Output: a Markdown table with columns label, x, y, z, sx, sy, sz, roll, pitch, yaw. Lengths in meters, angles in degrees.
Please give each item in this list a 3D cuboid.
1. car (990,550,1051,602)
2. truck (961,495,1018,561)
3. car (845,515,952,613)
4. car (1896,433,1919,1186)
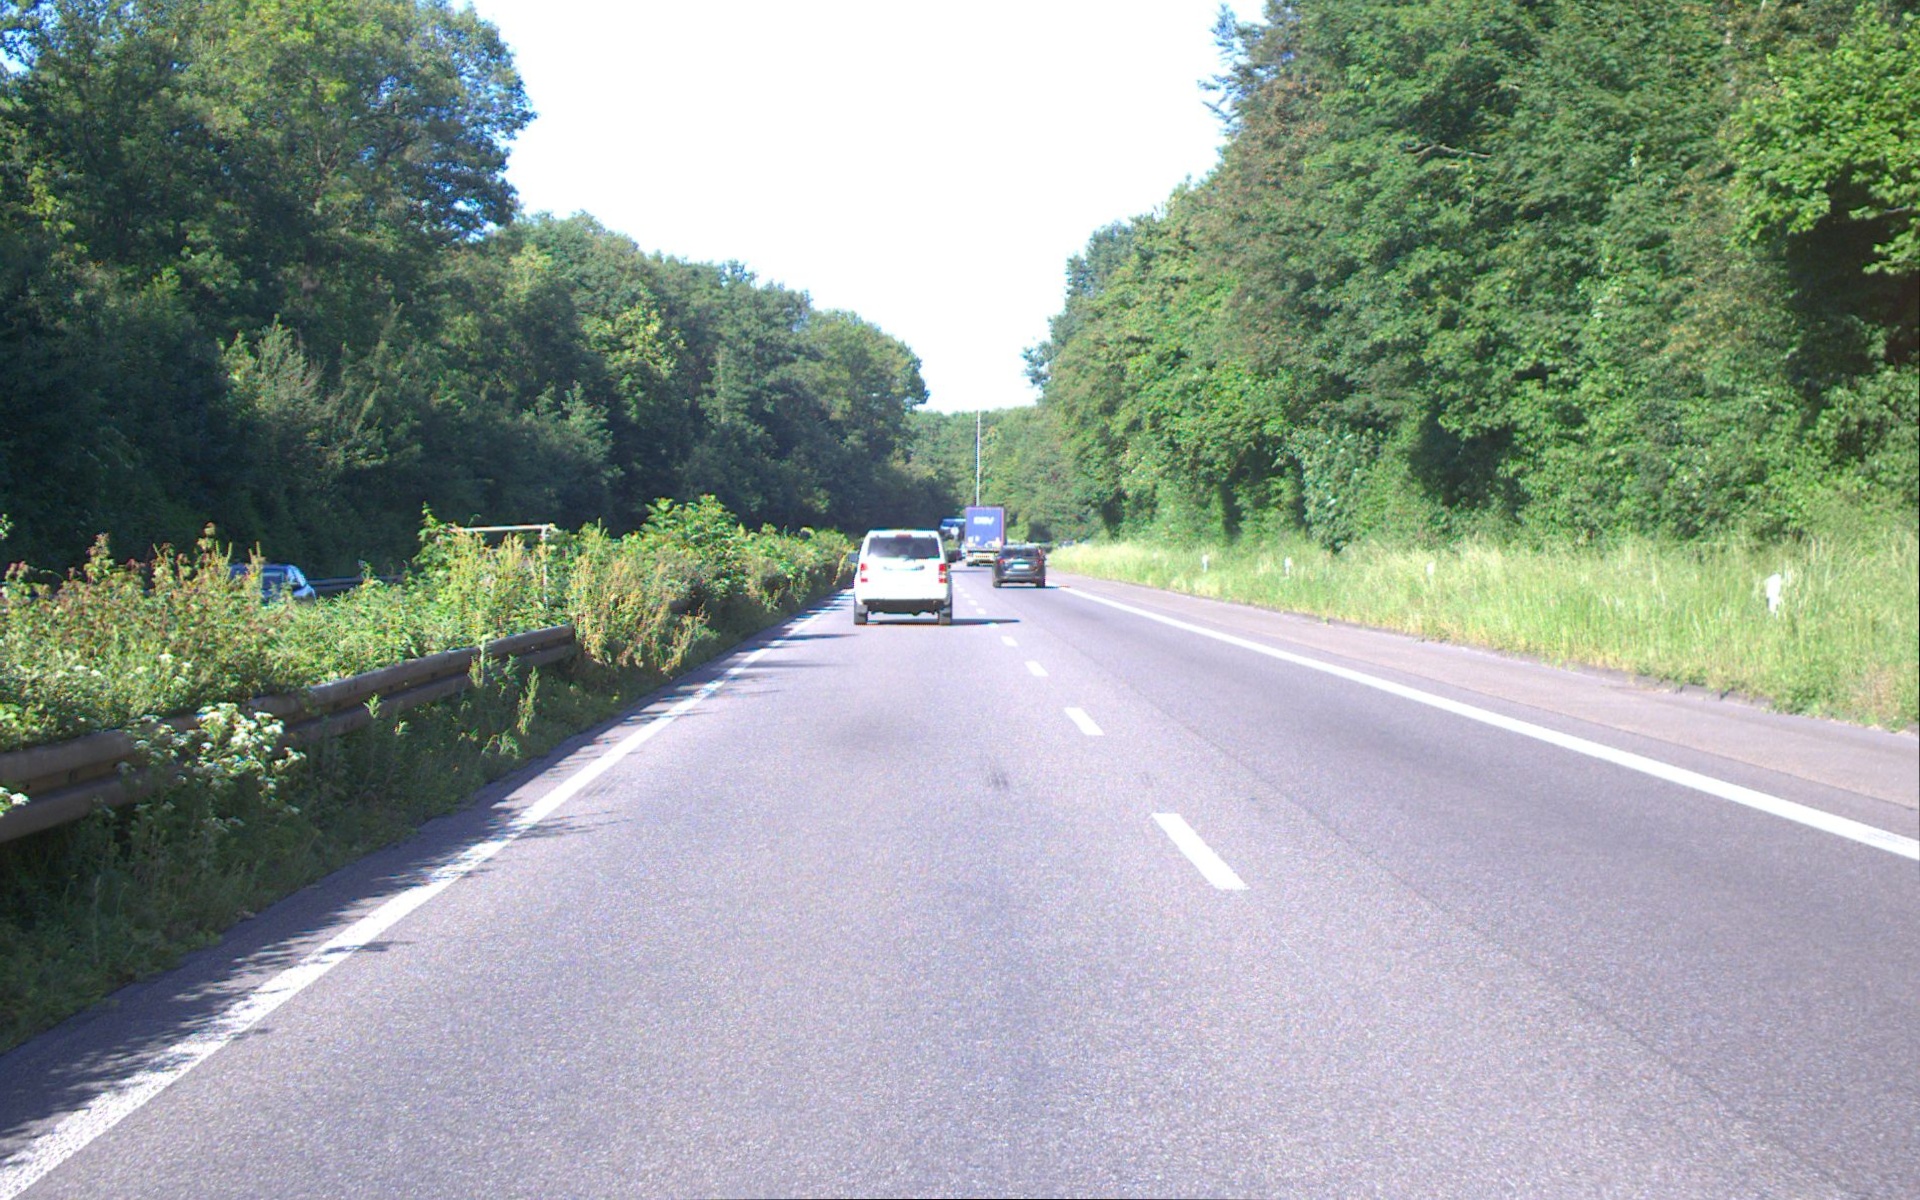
| label | x | y | z | sx | sy | sz | roll | pitch | yaw |
| --- | --- | --- | --- | --- | --- | --- | --- | --- | --- |
| car | 2.116 | -0.850 | 120.673 | 1.951 | 1.776 | 4.588 | 1 | 1 | -1 |
| truck | 1.955 | -4.816 | 232.832 | 3.734 | 4.328 | 9.305 | 1 | 1 | 0 |
| car | -1.167 | -0.683 | 65.304 | 1.951 | 1.776 | 4.588 | 1 | 1 | -1 |
| car | 3.246 | 0.533 | 6.142 | 1.799 | 1.807 | 4.588 | 1 | 1 | -1 |
